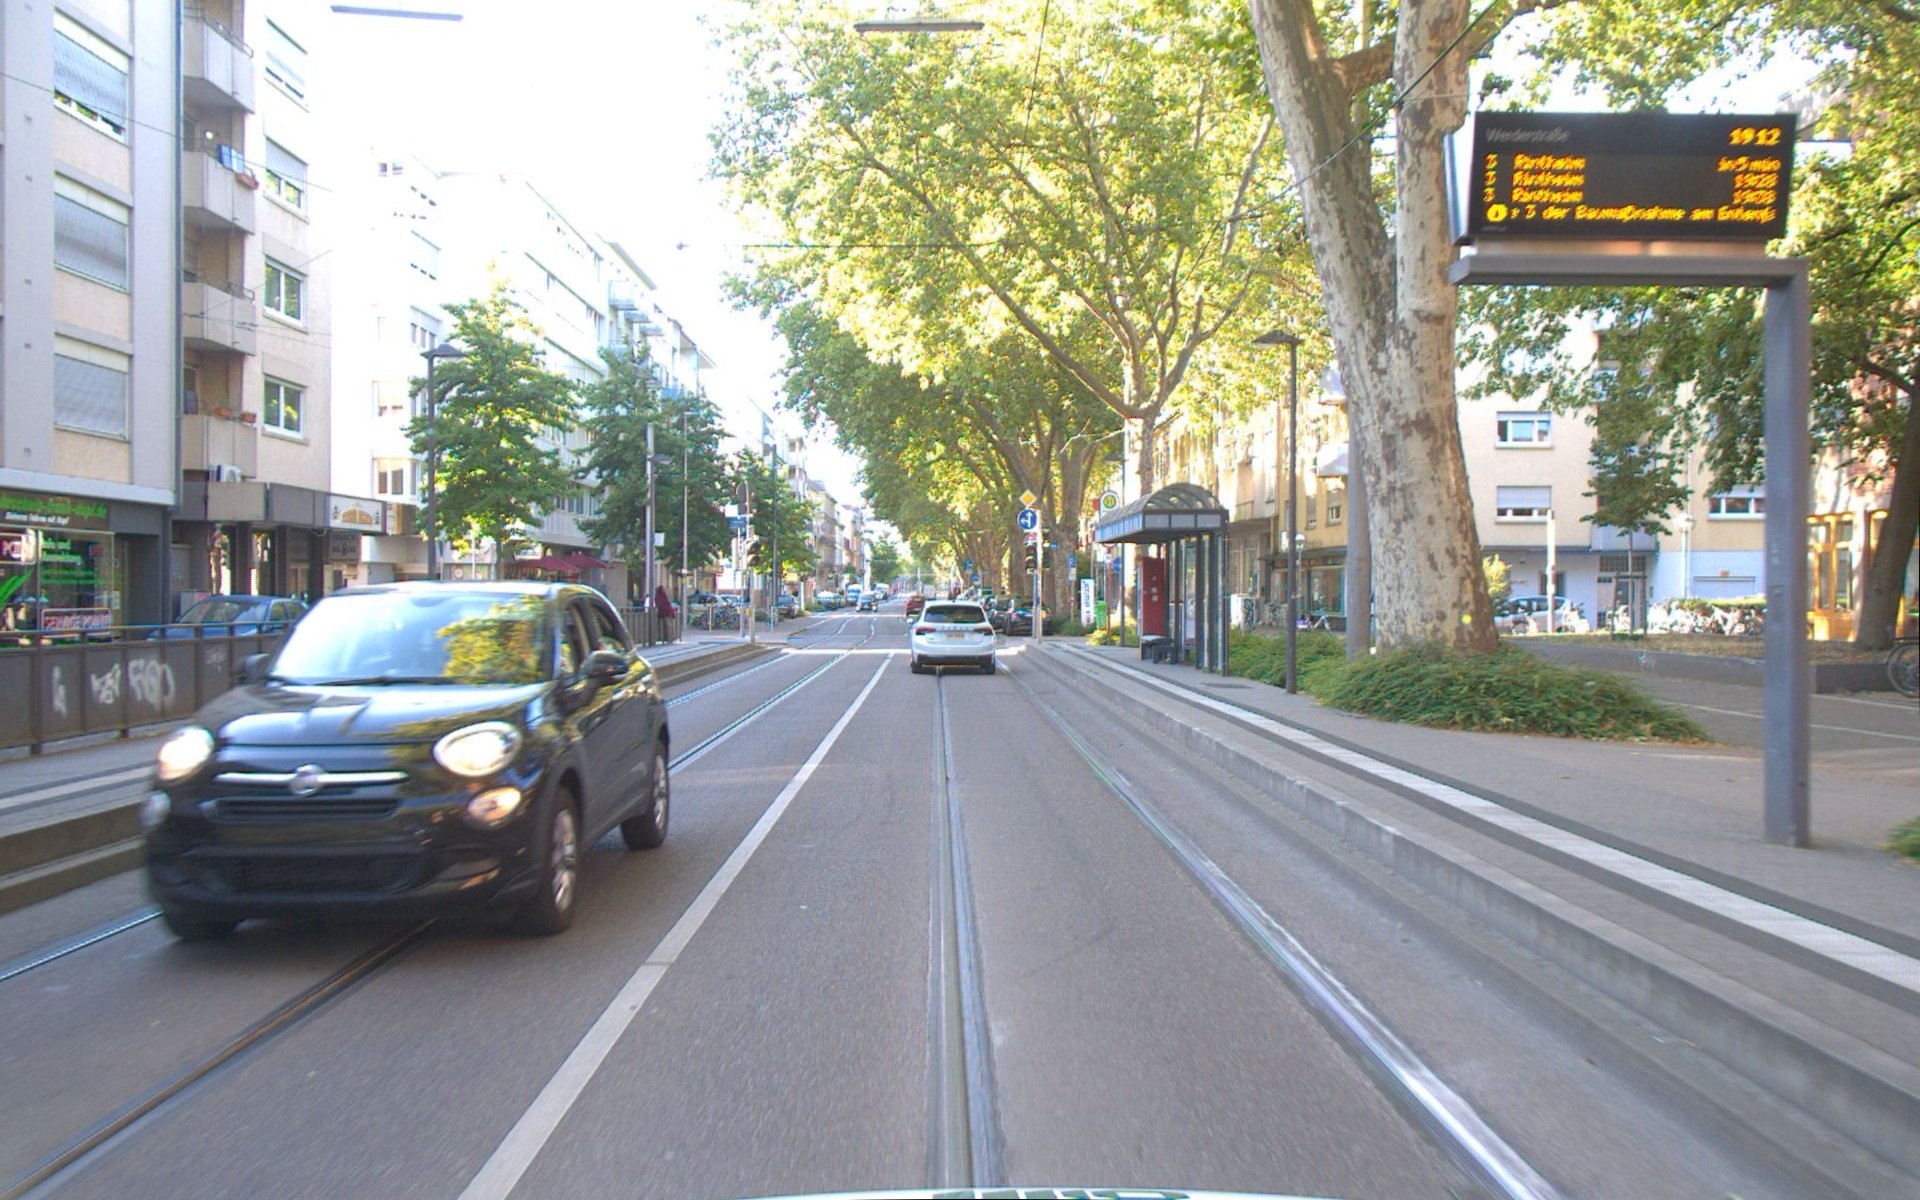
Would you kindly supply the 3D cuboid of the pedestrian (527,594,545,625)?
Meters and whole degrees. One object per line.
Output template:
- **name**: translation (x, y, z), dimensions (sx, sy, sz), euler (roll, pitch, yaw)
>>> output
- **pedestrian**: translation (-17.105, 0.379, 66.717), dimensions (0.557, 1.219, 0.506), euler (0, 0, -36)

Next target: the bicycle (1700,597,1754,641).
- **bicycle**: translation (21.312, 0.522, 45.975), dimensions (0.647, 1.177, 1.697), euler (-2, 0, -2)

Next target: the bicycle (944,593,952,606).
- **bicycle**: translation (-1.104, -0.047, 151.056), dimensions (0.636, 1.089, 1.582), euler (0, 0, -3)

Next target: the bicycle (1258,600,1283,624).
- **bicycle**: translation (13.443, 0.512, 71.566), dimensions (0.559, 1.014, 1.778), euler (-2, 0, -6)

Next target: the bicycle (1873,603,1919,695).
- **bicycle**: translation (13.223, 0.617, 21.793), dimensions (1.987, 1.177, 0.572), euler (-2, 0, 9)

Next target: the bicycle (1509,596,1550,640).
- **bicycle**: translation (15.976, 0.500, 46.425), dimensions (0.587, 1.177, 1.698), euler (-2, 0, 2)

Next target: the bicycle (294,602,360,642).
- **bicycle**: translation (-18.744, 0.647, 48.990), dimensions (1.750, 1.177, 0.571), euler (0, 0, -8)

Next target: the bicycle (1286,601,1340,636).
- **bicycle**: translation (12.585, 0.670, 58.961), dimensions (1.767, 1.177, 0.740), euler (-2, 0, -23)

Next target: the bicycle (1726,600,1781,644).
- **bicycle**: translation (22.025, 0.602, 45.951), dimensions (0.647, 1.177, 1.697), euler (-2, 0, -2)

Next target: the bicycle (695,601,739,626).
- **bicycle**: translation (-10.321, 0.560, 70.177), dimensions (1.794, 1.025, 0.657), euler (1, -1, -6)

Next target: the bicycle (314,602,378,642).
- **bicycle**: translation (-18.519, 0.659, 49.885), dimensions (1.745, 1.177, 0.572), euler (0, 0, 10)

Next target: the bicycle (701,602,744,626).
- **bicycle**: translation (-10.221, 0.611, 71.267), dimensions (1.794, 1.025, 0.657), euler (1, -1, -6)

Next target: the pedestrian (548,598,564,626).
- **pedestrian**: translation (-17.488, 0.519, 71.653), dimensions (0.550, 1.219, 0.624), euler (0, 0, -2)

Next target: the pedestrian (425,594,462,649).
- **pedestrian**: translation (-14.937, 0.606, 47.848), dimensions (0.711, 1.583, 0.724), euler (0, 0, 28)

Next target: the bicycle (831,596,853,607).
- **bicycle**: translation (-13.697, 0.151, 191.372), dimensions (2.510, 1.193, 0.870), euler (3, -2, -41)

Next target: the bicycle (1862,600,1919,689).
- **bicycle**: translation (13.529, 0.584, 22.679), dimensions (1.990, 1.177, 0.572), euler (-2, 0, -1)

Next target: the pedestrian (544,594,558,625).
- **pedestrian**: translation (-16.404, 0.379, 66.373), dimensions (0.503, 1.219, 0.561), euler (0, 0, -17)

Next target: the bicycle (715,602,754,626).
- **bicycle**: translation (-10.056, 0.625, 73.756), dimensions (1.658, 1.025, 0.657), euler (1, -1, -6)

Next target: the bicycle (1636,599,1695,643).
- **bicycle**: translation (19.550, 0.561, 45.884), dimensions (0.715, 1.177, 2.050), euler (-2, 0, -1)

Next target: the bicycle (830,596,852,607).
- **bicycle**: translation (-13.810, 0.144, 192.116), dimensions (2.477, 1.193, 0.718), euler (2, -2, -8)

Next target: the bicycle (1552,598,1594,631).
- **bicycle**: translation (23.061, 0.551, 62.216), dimensions (1.679, 1.177, 0.594), euler (-2, 0, -36)

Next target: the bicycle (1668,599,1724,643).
- **bicycle**: translation (20.477, 0.576, 46.036), dimensions (0.647, 1.177, 1.850), euler (-2, 0, -2)

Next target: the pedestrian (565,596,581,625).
- **pedestrian**: translation (-16.463, 0.444, 70.318), dimensions (0.506, 1.219, 0.558), euler (0, 0, -30)

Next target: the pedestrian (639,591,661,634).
- **pedestrian**: translation (-11.426, 0.450, 60.938), dimensions (0.711, 1.583, 0.768), euler (0, 0, -7)

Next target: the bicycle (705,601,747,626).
- **bicycle**: translation (-10.247, 0.586, 72.398), dimensions (1.794, 1.025, 0.657), euler (1, -1, -6)

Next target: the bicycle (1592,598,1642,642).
- **bicycle**: translation (18.281, 0.535, 46.087), dimensions (0.623, 1.177, 1.982), euler (-2, 0, 2)

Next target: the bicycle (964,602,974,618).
- **bicycle**: translation (0.592, 0.654, 109.251), dimensions (0.667, 1.089, 1.780), euler (0, 0, -1)

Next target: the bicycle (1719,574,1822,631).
- **bicycle**: translation (17.418, 0.054, 35.575), dimensions (1.887, 1.177, 0.572), euler (-2, 0, 15)

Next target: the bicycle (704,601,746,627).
- **bicycle**: translation (-10.166, 0.613, 71.588), dimensions (1.794, 1.082, 0.657), euler (1, -1, -6)

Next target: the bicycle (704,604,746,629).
- **bicycle**: translation (-9.757, 0.692, 68.705), dimensions (1.658, 1.025, 0.657), euler (1, -1, -6)

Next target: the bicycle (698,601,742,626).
- **bicycle**: translation (-10.240, 0.564, 70.620), dimensions (1.794, 1.025, 0.657), euler (1, -1, -6)

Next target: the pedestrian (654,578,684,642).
- **pedestrian**: translation (-7.416, 0.259, 42.189), dimensions (0.640, 1.613, 0.772), euler (0, 0, -1)

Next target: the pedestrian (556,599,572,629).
- **pedestrian**: translation (-16.308, 0.563, 68.074), dimensions (0.501, 1.219, 0.564), euler (0, 0, 1)

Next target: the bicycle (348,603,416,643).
- **bicycle**: translation (-17.177, 0.687, 49.144), dimensions (1.819, 1.177, 0.572), euler (0, 0, 3)

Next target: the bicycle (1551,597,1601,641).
- **bicycle**: translation (17.065, 0.514, 45.824), dimensions (0.588, 1.177, 1.696), euler (-2, 0, -5)
